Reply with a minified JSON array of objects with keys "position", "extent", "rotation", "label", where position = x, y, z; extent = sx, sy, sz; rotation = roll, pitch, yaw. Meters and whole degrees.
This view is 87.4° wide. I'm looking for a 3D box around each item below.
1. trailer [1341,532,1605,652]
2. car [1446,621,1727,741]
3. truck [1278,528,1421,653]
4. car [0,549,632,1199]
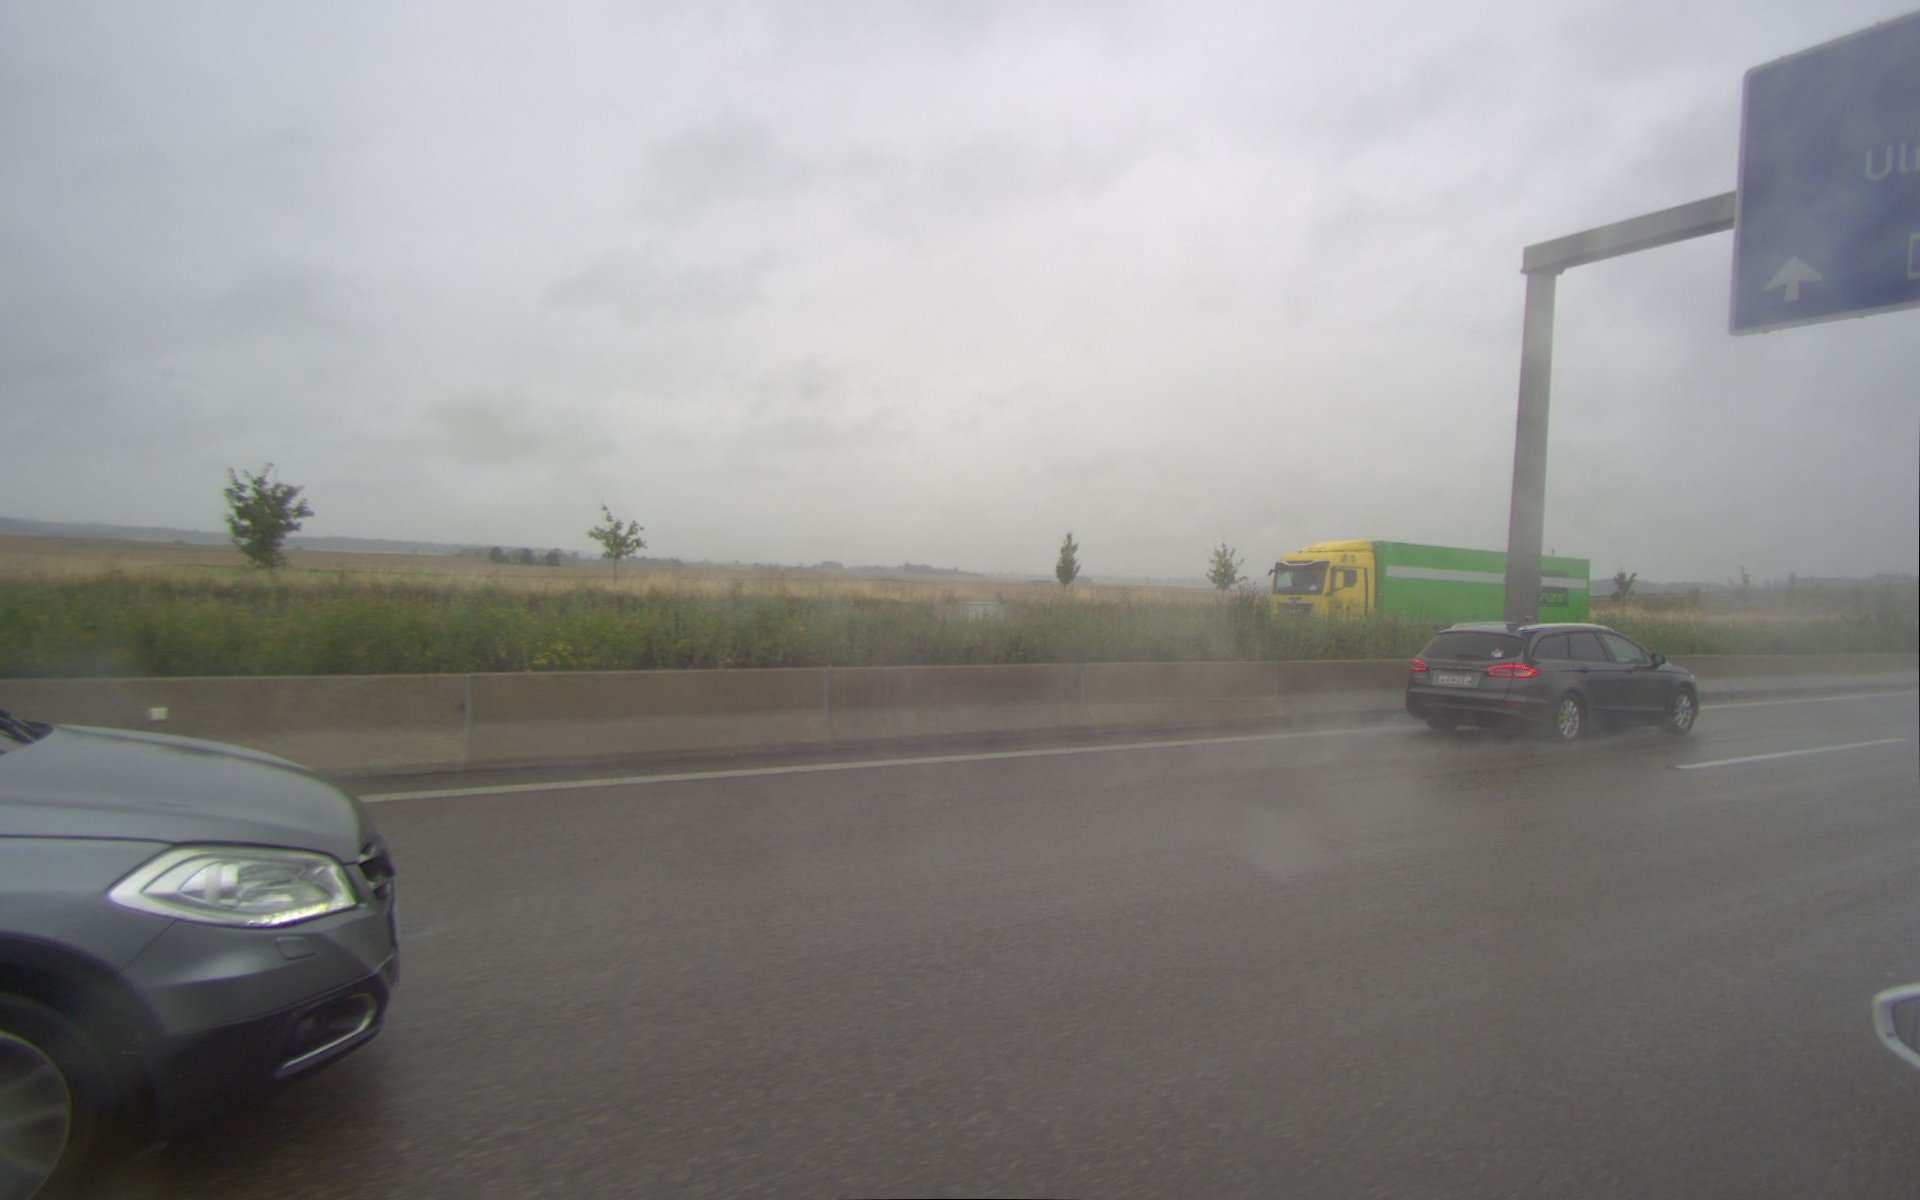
[{"position":[20.169,-0.130,38.757],"extent":[14.142,4.094,1.983],"rotation":[1,0,-32],"label":"trailer"},{"position":[8.532,1.015,13.602],"extent":[3.954,1.372,1.604],"rotation":[1,0,-31],"label":"car"},{"position":[13.447,-0.264,34.607],"extent":[4.763,4.044,2.000],"rotation":[1,0,-31],"label":"truck"},{"position":[-3.388,0.623,2.357],"extent":[4.700,1.533,1.837],"rotation":[1,0,-30],"label":"car"}]
